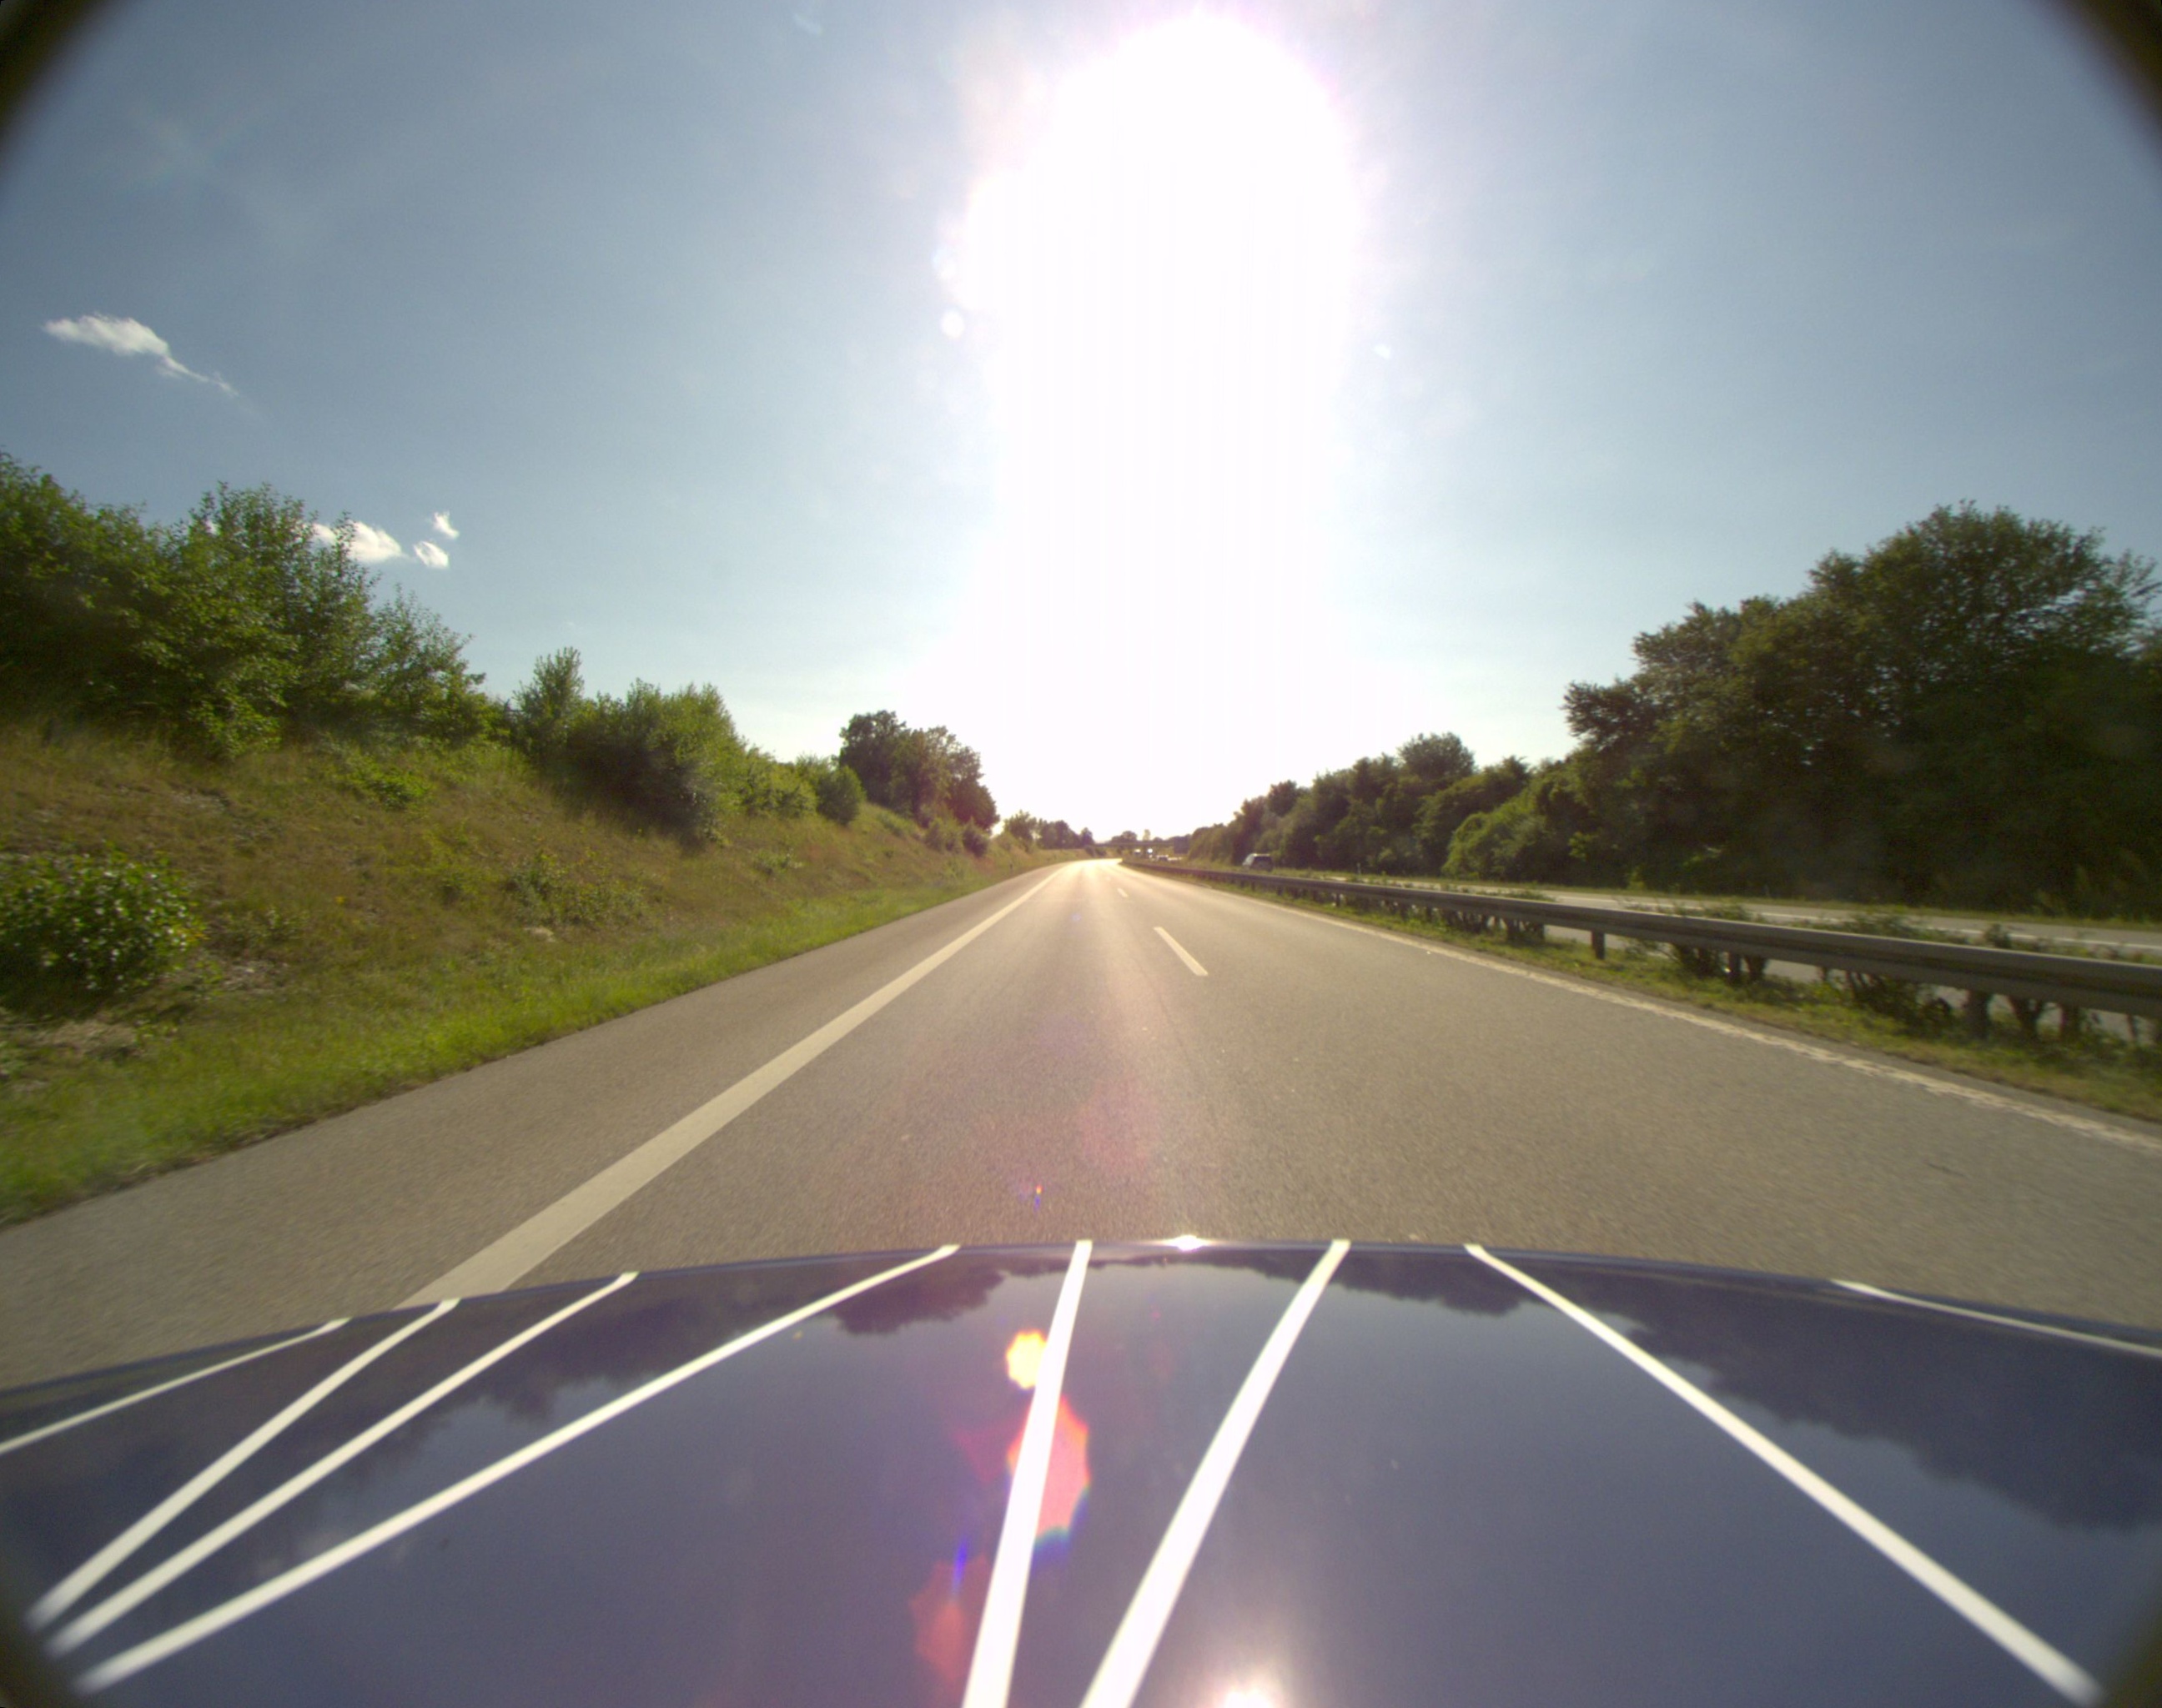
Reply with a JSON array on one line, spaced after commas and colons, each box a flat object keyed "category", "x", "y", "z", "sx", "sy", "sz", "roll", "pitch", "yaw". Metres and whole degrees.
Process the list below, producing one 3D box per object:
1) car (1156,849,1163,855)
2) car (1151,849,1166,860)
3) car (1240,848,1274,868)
[{"category": "car", "x": 27.678, "y": -0.564, "z": 268.637, "sx": 1.998, "sy": 2.002, "sz": 4.855, "roll": 2, "pitch": 1, "yaw": 2}, {"category": "car", "x": 11.882, "y": 0.069, "z": 116.360, "sx": 1.772, "sy": 1.486, "sz": 4.229, "roll": 2, "pitch": 1, "yaw": 0}, {"category": "car", "x": 14.443, "y": 0.319, "z": 62.641, "sx": 1.772, "sy": 1.575, "sz": 4.792, "roll": -1, "pitch": 1, "yaw": 0}]
